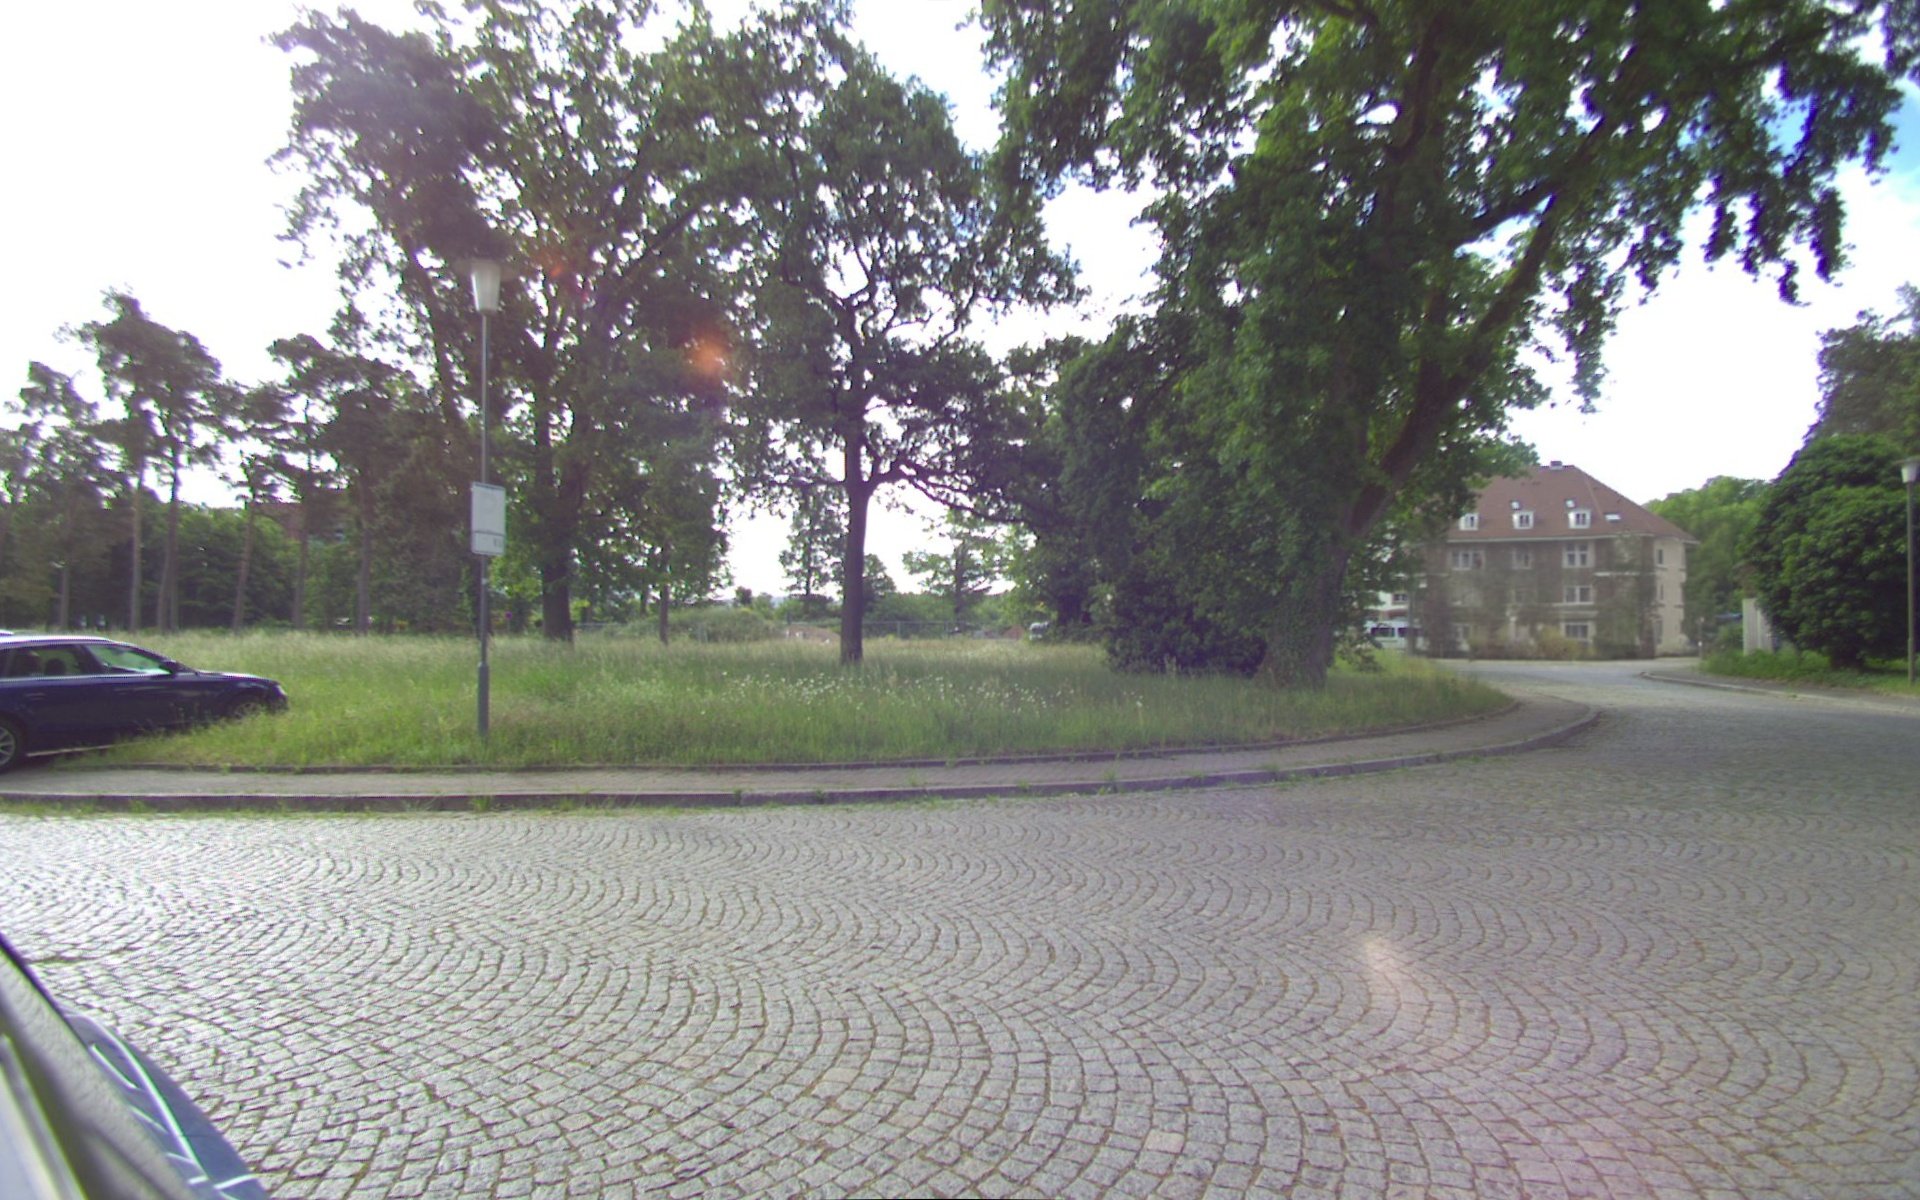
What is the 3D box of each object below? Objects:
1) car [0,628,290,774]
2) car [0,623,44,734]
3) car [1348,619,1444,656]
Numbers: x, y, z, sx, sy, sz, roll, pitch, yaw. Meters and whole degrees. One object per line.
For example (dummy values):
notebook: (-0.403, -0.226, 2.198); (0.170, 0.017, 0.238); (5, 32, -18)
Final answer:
car: (-10.571, 1.111, 11.887); (1.669, 1.491, 4.416); (-1, -1, 20)
car: (-15.058, 1.101, 13.325); (1.774, 1.585, 4.130); (0, -1, 15)
car: (28.344, 2.423, 66.023); (5.485, 2.224, 2.114); (0, 1, 18)
